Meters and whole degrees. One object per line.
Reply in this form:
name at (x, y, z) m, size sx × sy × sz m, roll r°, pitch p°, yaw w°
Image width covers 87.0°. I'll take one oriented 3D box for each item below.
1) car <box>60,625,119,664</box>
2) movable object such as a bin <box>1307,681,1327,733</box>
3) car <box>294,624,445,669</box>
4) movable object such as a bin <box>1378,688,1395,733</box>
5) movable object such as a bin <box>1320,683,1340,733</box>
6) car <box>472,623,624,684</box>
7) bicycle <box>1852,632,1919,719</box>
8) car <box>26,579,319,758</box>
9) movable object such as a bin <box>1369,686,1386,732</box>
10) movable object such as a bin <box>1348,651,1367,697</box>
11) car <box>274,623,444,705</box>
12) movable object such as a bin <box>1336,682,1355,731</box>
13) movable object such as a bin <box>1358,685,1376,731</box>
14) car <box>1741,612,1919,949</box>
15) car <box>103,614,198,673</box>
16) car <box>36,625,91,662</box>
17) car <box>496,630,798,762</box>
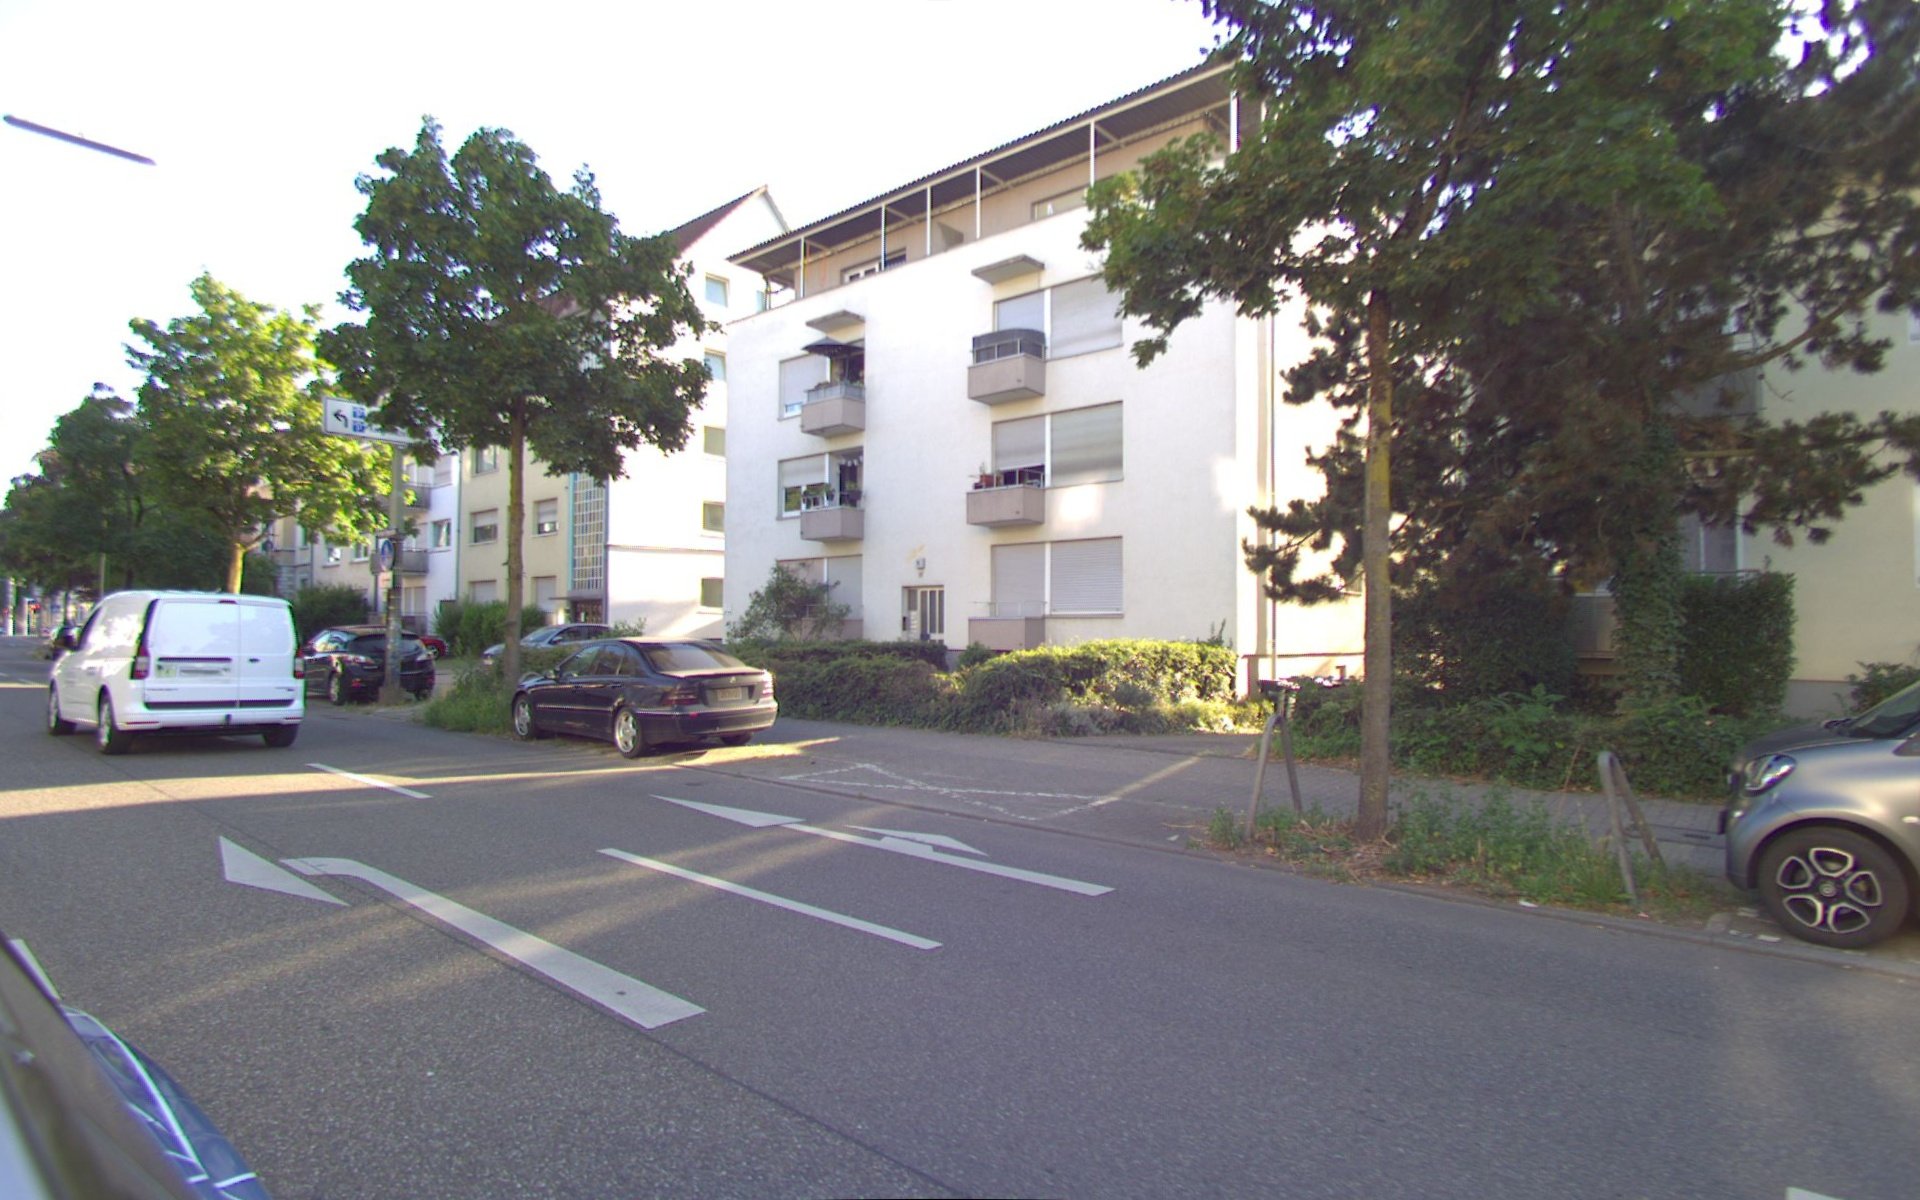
car at (-34.984, 1.761, 40.648) m, size 3.682 × 1.416 × 1.388 m, roll -1°, pitch 0°, yaw 43°
movable object such as a bin at (7.165, 2.145, 20.298) m, size 0.207 × 1.010 × 0.519 m, roll -2°, pitch -3°, yaw 41°
car at (-21.500, 1.642, 37.042) m, size 1.735 × 1.416 × 4.516 m, roll -1°, pitch 0°, yaw 31°
movable object such as a bin at (9.947, 2.572, 23.599) m, size 0.207 × 1.010 × 0.519 m, roll -2°, pitch -3°, yaw 41°
movable object such as a bin at (7.686, 2.233, 21.008) m, size 0.207 × 1.010 × 0.519 m, roll -2°, pitch -3°, yaw 41°
car at (-11.097, 1.411, 27.399) m, size 1.686 × 1.535 × 3.422 m, roll -2°, pitch -2°, yaw 42°
bicycle at (12.373, 0.933, 12.465) m, size 2.045 × 1.072 × 0.513 m, roll -1°, pitch -2°, yaw 41°
car at (-9.791, 0.782, 12.461) m, size 4.427 × 1.817 × 1.869 m, roll -1°, pitch -4°, yaw 40°
movable object such as a bin at (9.573, 2.494, 23.193) m, size 0.207 × 1.010 × 0.519 m, roll -2°, pitch -3°, yaw 41°
movable object such as a bin at (8.729, 1.618, 22.221) m, size 0.207 × 1.010 × 0.519 m, roll -2°, pitch -3°, yaw 41°
car at (-12.312, 1.245, 20.643) m, size 3.998 × 1.497 × 1.838 m, roll -1°, pitch -3°, yaw 41°
movable object such as a bin at (8.256, 2.279, 21.669) m, size 0.207 × 1.010 × 0.519 m, roll -2°, pitch -3°, yaw 41°
movable object such as a bin at (9.105, 2.411, 22.660) m, size 0.207 × 1.010 × 0.519 m, roll -2°, pitch -3°, yaw 41°
car at (5.527, 0.848, 4.860) m, size 2.747 × 1.567 × 1.557 m, roll -1°, pitch -2°, yaw 40°
car at (-26.810, 1.410, 33.460) m, size 4.190 × 1.823 × 1.717 m, roll -1°, pitch -2°, yaw 41°
car at (-38.440, 1.842, 43.365) m, size 3.682 × 1.475 × 1.388 m, roll -1°, pitch 0°, yaw 43°
car at (-4.162, 1.097, 13.058) m, size 4.441 × 1.418 × 1.620 m, roll -1°, pitch -2°, yaw 41°
